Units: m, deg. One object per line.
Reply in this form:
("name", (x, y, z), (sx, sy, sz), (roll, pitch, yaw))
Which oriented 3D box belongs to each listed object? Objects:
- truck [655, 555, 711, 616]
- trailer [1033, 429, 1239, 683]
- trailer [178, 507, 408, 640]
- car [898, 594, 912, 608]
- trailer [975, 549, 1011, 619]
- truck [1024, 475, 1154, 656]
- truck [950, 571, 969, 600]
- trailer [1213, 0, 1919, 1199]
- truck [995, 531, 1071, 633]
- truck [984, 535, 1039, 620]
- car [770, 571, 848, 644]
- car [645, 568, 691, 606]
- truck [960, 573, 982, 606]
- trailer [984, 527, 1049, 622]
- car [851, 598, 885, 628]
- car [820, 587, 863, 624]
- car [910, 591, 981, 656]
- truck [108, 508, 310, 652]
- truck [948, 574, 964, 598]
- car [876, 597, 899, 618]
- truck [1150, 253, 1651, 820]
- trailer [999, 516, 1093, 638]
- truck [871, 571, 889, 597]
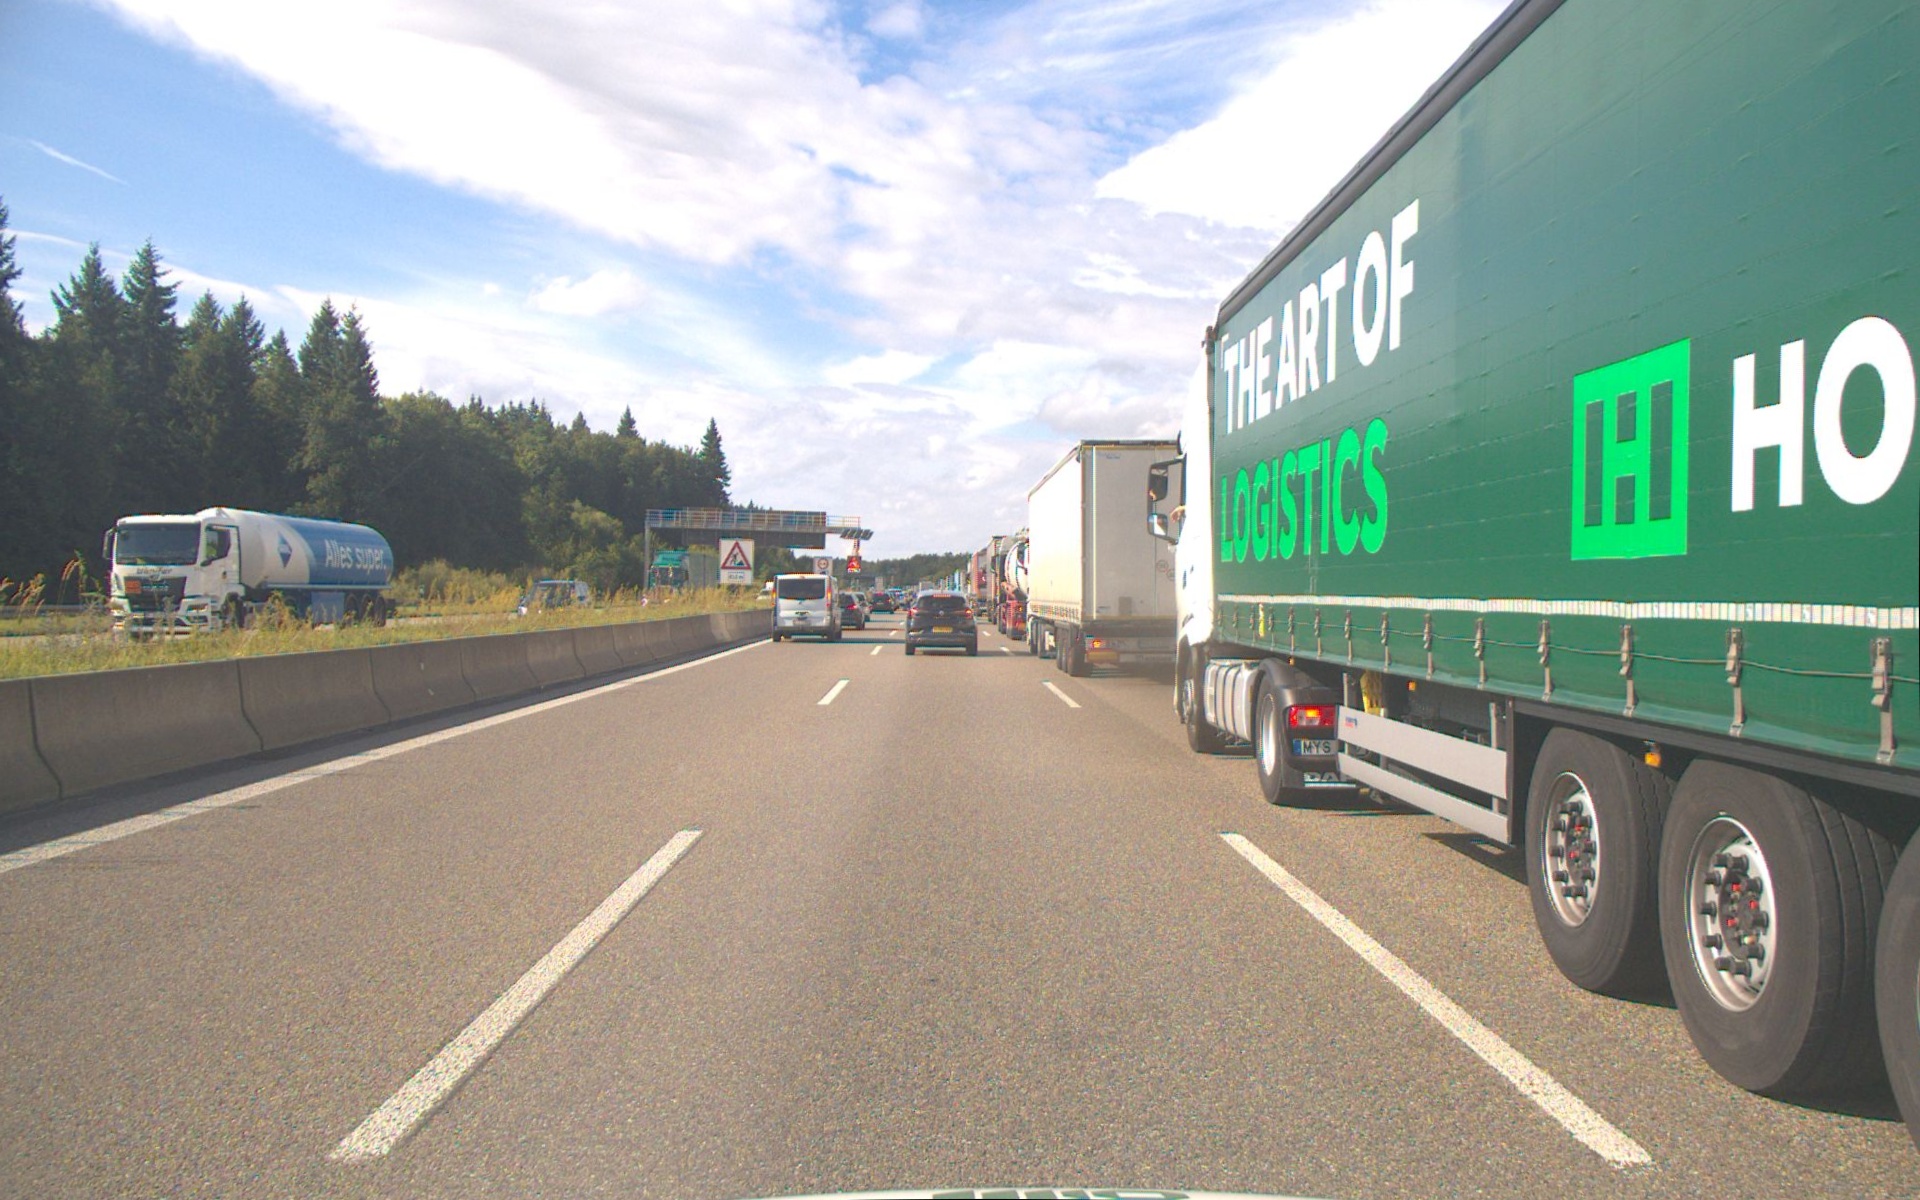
("truck", (-20.354, -1.036, 122.135), (2.656, 4.318, 10.341), (0, 0, -2))
("trailer", (3.160, -0.750, 33.500), (2.648, 4.153, 12.942), (0, 0, -1))
("trailer", (-18.876, -0.707, 47.747), (2.274, 3.342, 10.874), (1, 0, -1))
("car", (-5.584, 0.118, 168.766), (1.333, 1.323, 3.084), (4, 0, -1))
("trailer", (2.074, -0.988, 107.402), (2.106, 4.333, 8.439), (1, 0, 0))
("truck", (3.069, -0.779, 41.000), (2.653, 4.131, 6.360), (0, 0, -1))
("truck", (-0.042, -1.595, 184.150), (1.953, 3.105, 4.981), (4, 0, 0))
("trailer", (3.579, -0.466, 7.550), (2.607, 3.936, 13.392), (1, 0, -1))
("truck", (2.676, -0.642, 62.412), (2.482, 3.646, 6.728), (0, 0, -1))
("truck", (2.670, -1.154, 87.593), (2.729, 4.321, 6.459), (0, 0, 0))
("car", (-4.602, 0.236, 50.975), (1.894, 2.013, 5.097), (4, 0, -1))
("car", (-15.809, -0.682, 89.584), (1.724, 1.914, 3.999), (4, 0, -1))
("truck", (1.025, -1.001, 157.396), (1.953, 2.982, 4.981), (4, 0, 0))
("trailer", (2.658, -1.147, 80.925), (2.745, 4.318, 11.056), (0, 0, 0))
("car", (-4.637, 0.656, 83.674), (1.470, 1.420, 3.475), (4, 0, -1))
("car", (-4.677, 0.225, 65.480), (1.469, 1.420, 3.475), (1, 0, -1))
("car", (-0.368, 0.559, 41.236), (1.662, 1.509, 4.159), (1, 0, -1))
("truck", (-18.811, -0.478, 41.842), (2.270, 3.331, 6.104), (1, 0, -1))
("truck", (-0.543, -1.895, 227.826), (1.953, 3.105, 4.981), (4, 0, 0))
("car", (-5.065, 0.521, 115.825), (1.406, 1.333, 3.532), (4, 0, -1))
("truck", (3.491, -0.435, 15.066), (2.593, 3.936, 6.995), (1, 0, -1))
("trailer", (2.740, -0.693, 55.744), (2.489, 3.718, 10.625), (0, 0, -1))
("truck", (-11.999, -2.436, 248.217), (2.297, 3.656, 6.304), (4, 0, -1))
